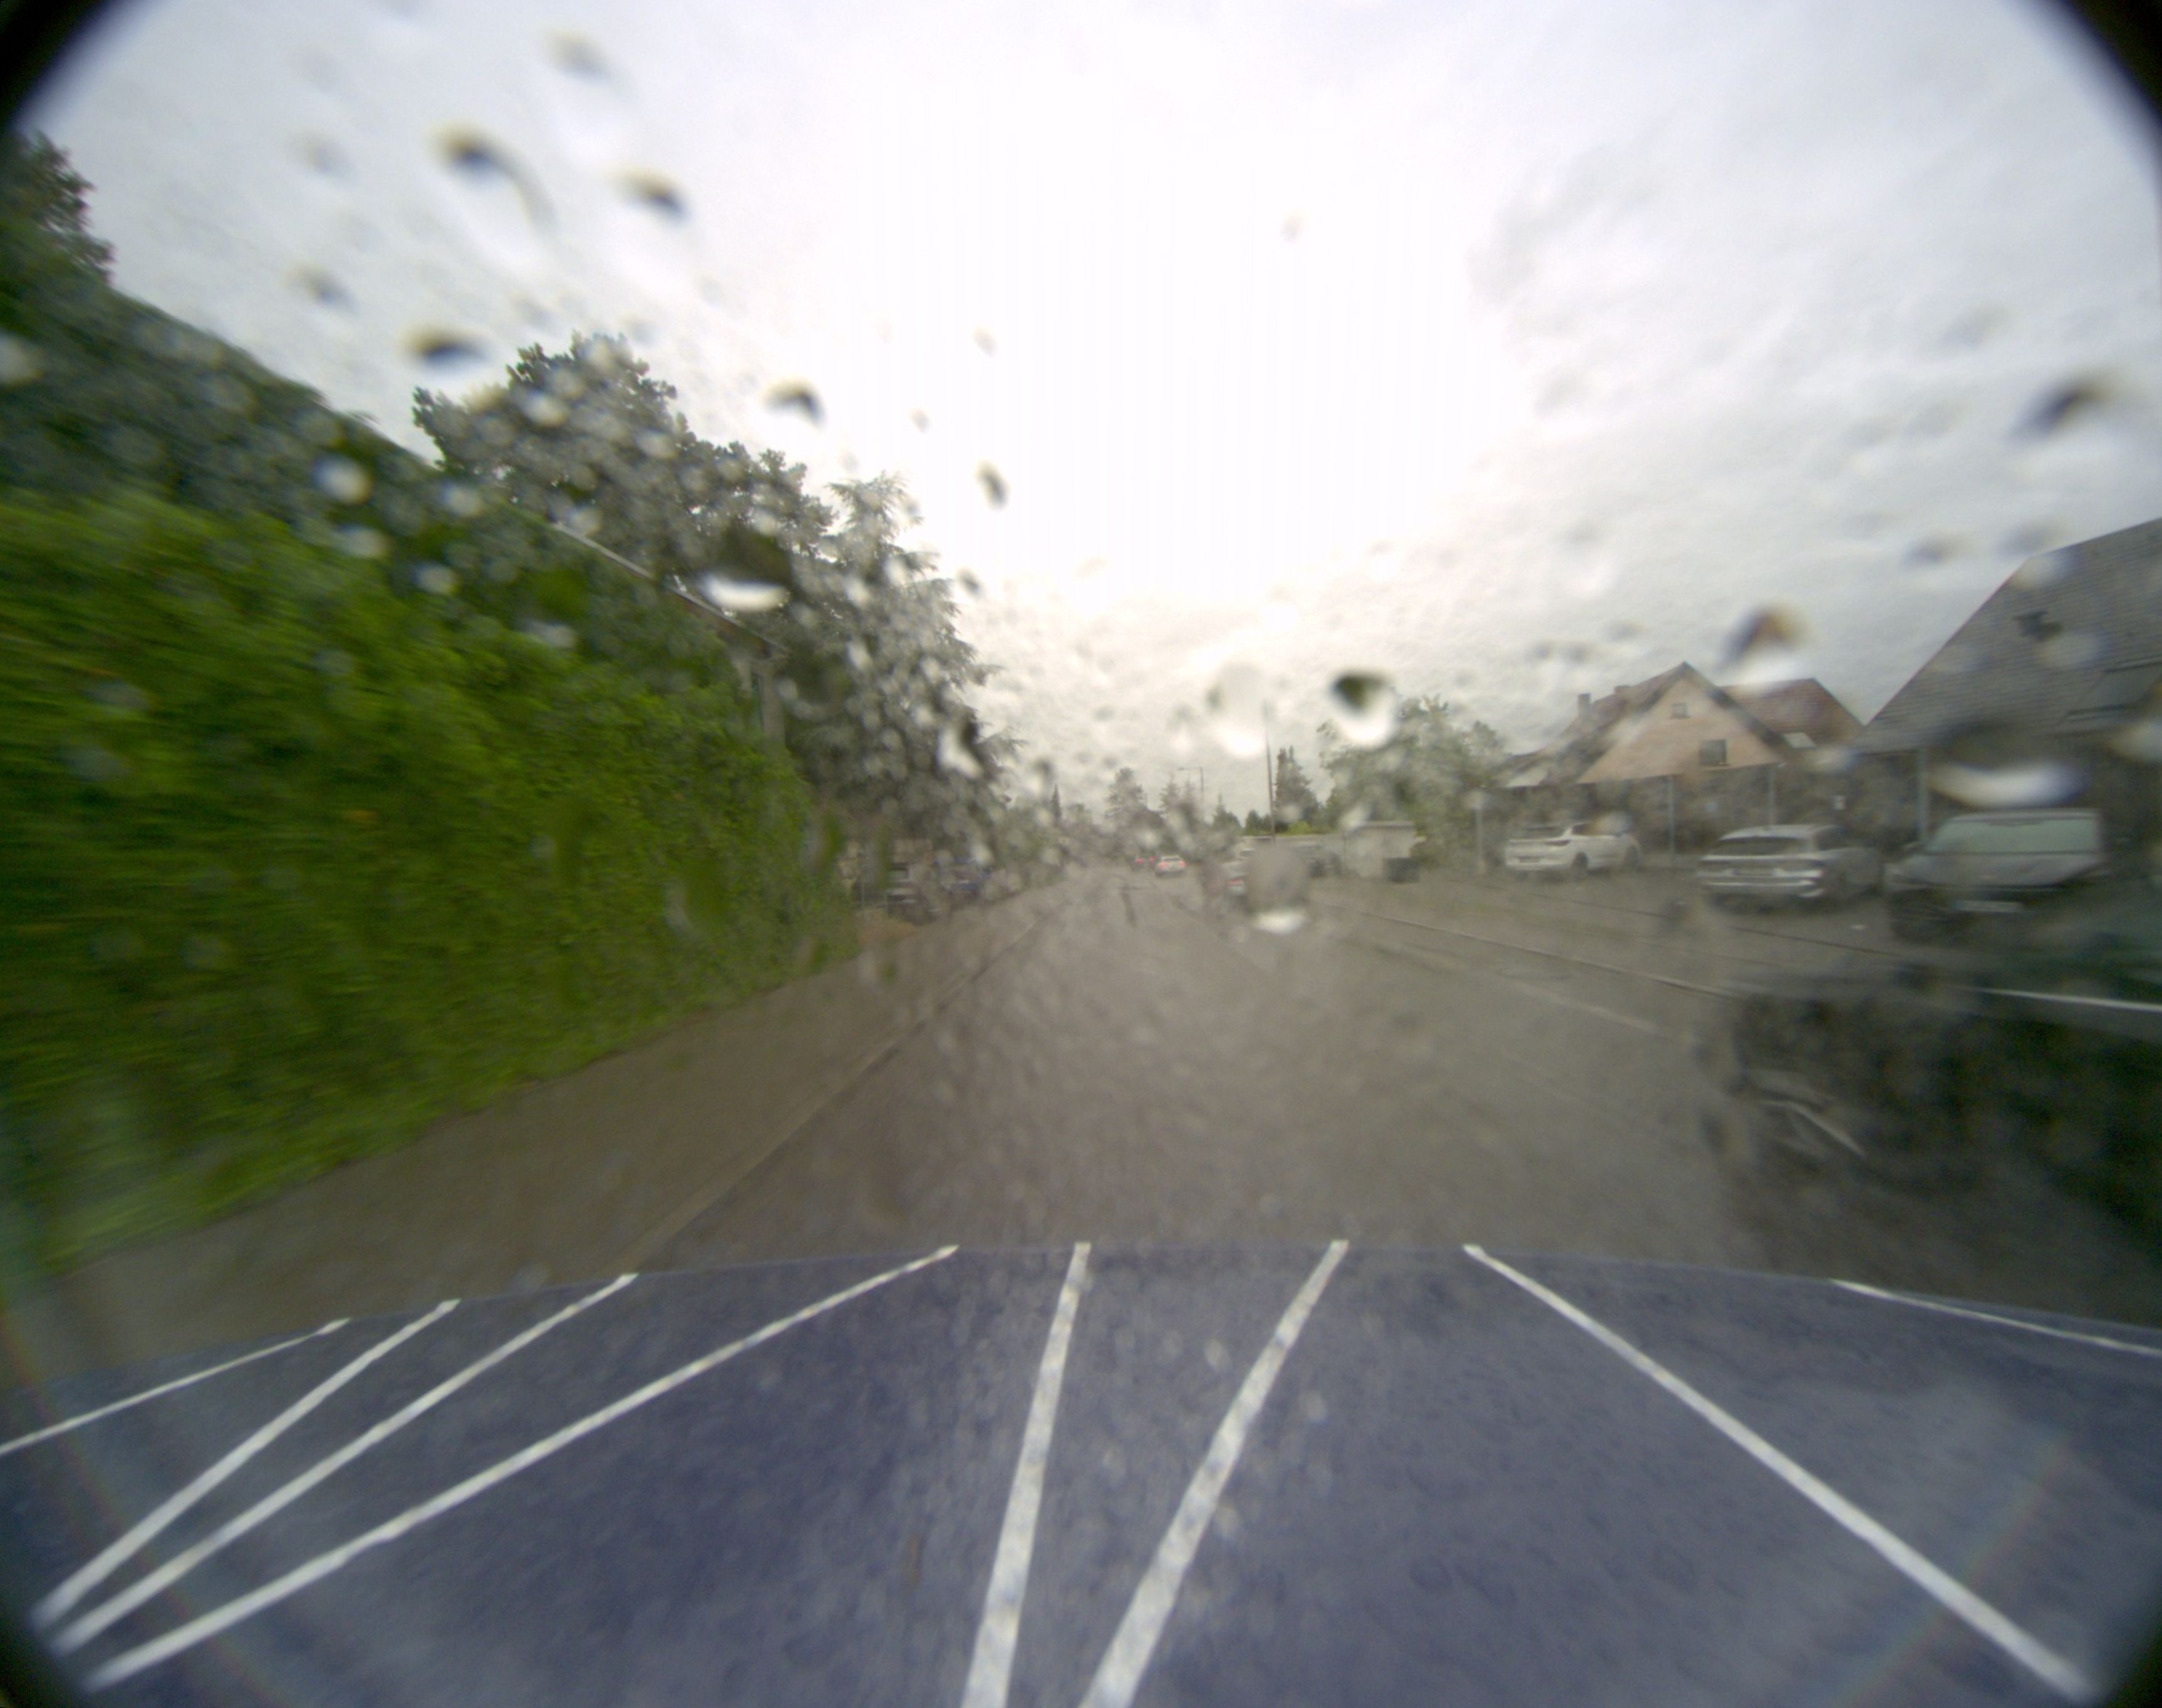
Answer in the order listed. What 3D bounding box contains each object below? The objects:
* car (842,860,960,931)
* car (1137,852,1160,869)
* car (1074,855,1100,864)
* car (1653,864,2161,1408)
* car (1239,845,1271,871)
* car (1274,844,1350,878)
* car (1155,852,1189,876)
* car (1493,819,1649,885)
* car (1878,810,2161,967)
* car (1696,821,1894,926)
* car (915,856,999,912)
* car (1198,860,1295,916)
[{"bbox_3d":[-4.401,0.962,19.221,1.814,1.554,4.011,0,0,4],"label":"car"},{"bbox_3d":[6.258,0.580,70.821,1.855,1.461,3.700,-4,0,3],"label":"car"},{"bbox_3d":[1.010,0.906,127.066,4.001,1.264,1.871,-4,1,-13],"label":"car"},{"bbox_3d":[3.995,0.820,1.990,1.886,1.441,4.209,-3,0,2],"label":"car"},{"bbox_3d":[11.644,0.233,50.687,1.707,1.544,4.393,-4,0,17],"label":"car"},{"bbox_3d":[10.822,0.317,35.948,1.839,1.397,4.258,-4,0,-6],"label":"car"},{"bbox_3d":[6.108,0.669,51.597,1.851,1.451,4.268,-4,0,2],"label":"car"},{"bbox_3d":[13.849,-0.075,21.439,4.063,1.565,1.938,-4,0,-29],"label":"car"},{"bbox_3d":[12.631,0.342,10.137,4.300,1.591,1.834,-4,0,-31],"label":"car"},{"bbox_3d":[13.063,0.280,13.815,4.540,1.434,1.757,-5,1,-36],"label":"car"},{"bbox_3d":[-4.036,0.929,25.507,1.998,1.660,4.544,0,0,1],"label":"car"},{"bbox_3d":[4.441,0.868,20.987,1.886,1.276,4.209,-3,0,3],"label":"car"}]
